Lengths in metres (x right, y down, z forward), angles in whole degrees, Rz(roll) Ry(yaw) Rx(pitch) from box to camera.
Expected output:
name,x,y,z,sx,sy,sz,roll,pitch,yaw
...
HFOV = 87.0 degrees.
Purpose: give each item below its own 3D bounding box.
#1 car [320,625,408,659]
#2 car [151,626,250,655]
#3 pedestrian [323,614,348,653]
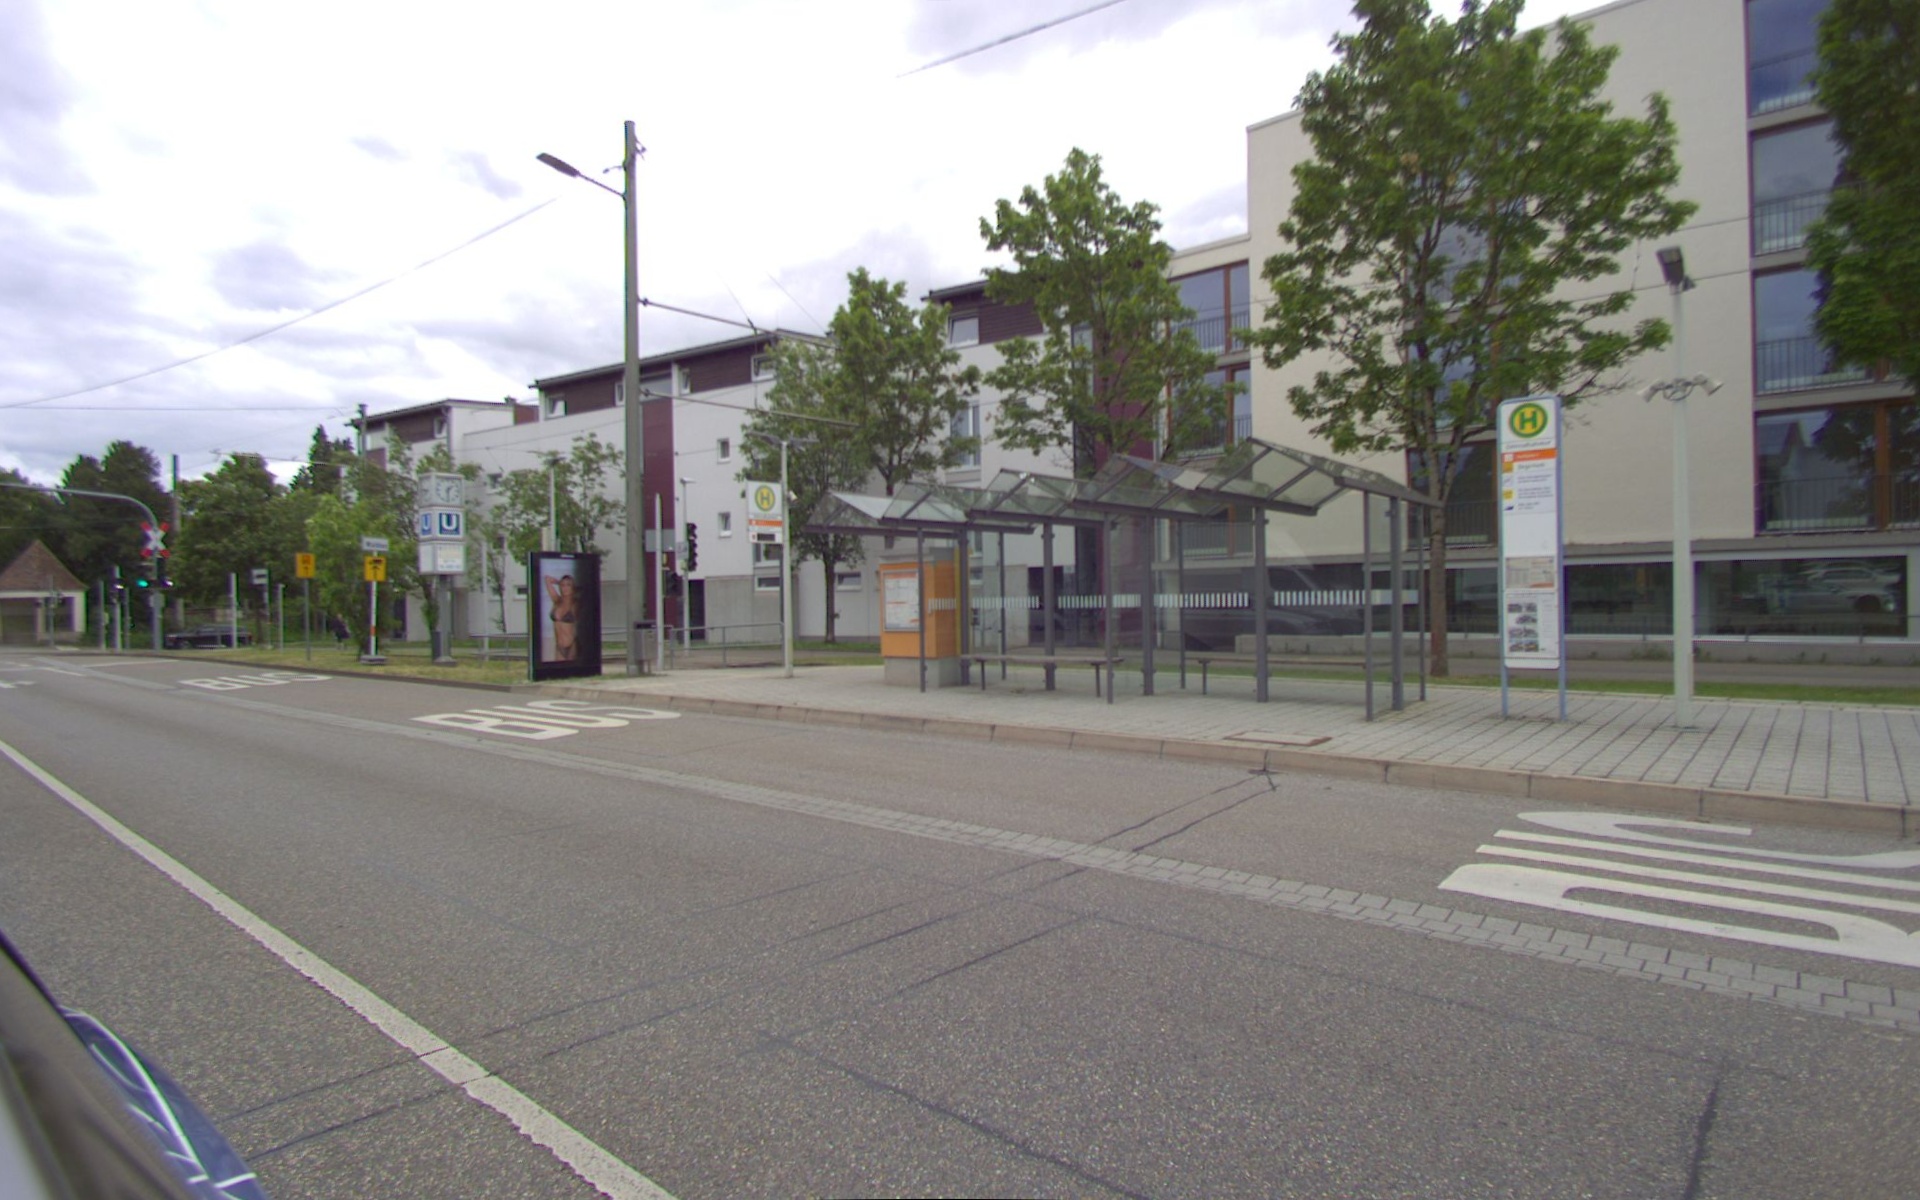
name,x,y,z,sx,sy,sz,roll,pitch,yaw
car,-38.370,2.724,65.267,1.995,2.029,4.418,-1,-4,34
car,-46.500,2.508,62.037,1.960,1.682,4.438,-1,-3,33
pedestrian,-27.191,1.444,44.090,0.817,1.657,0.669,-4,-3,35
